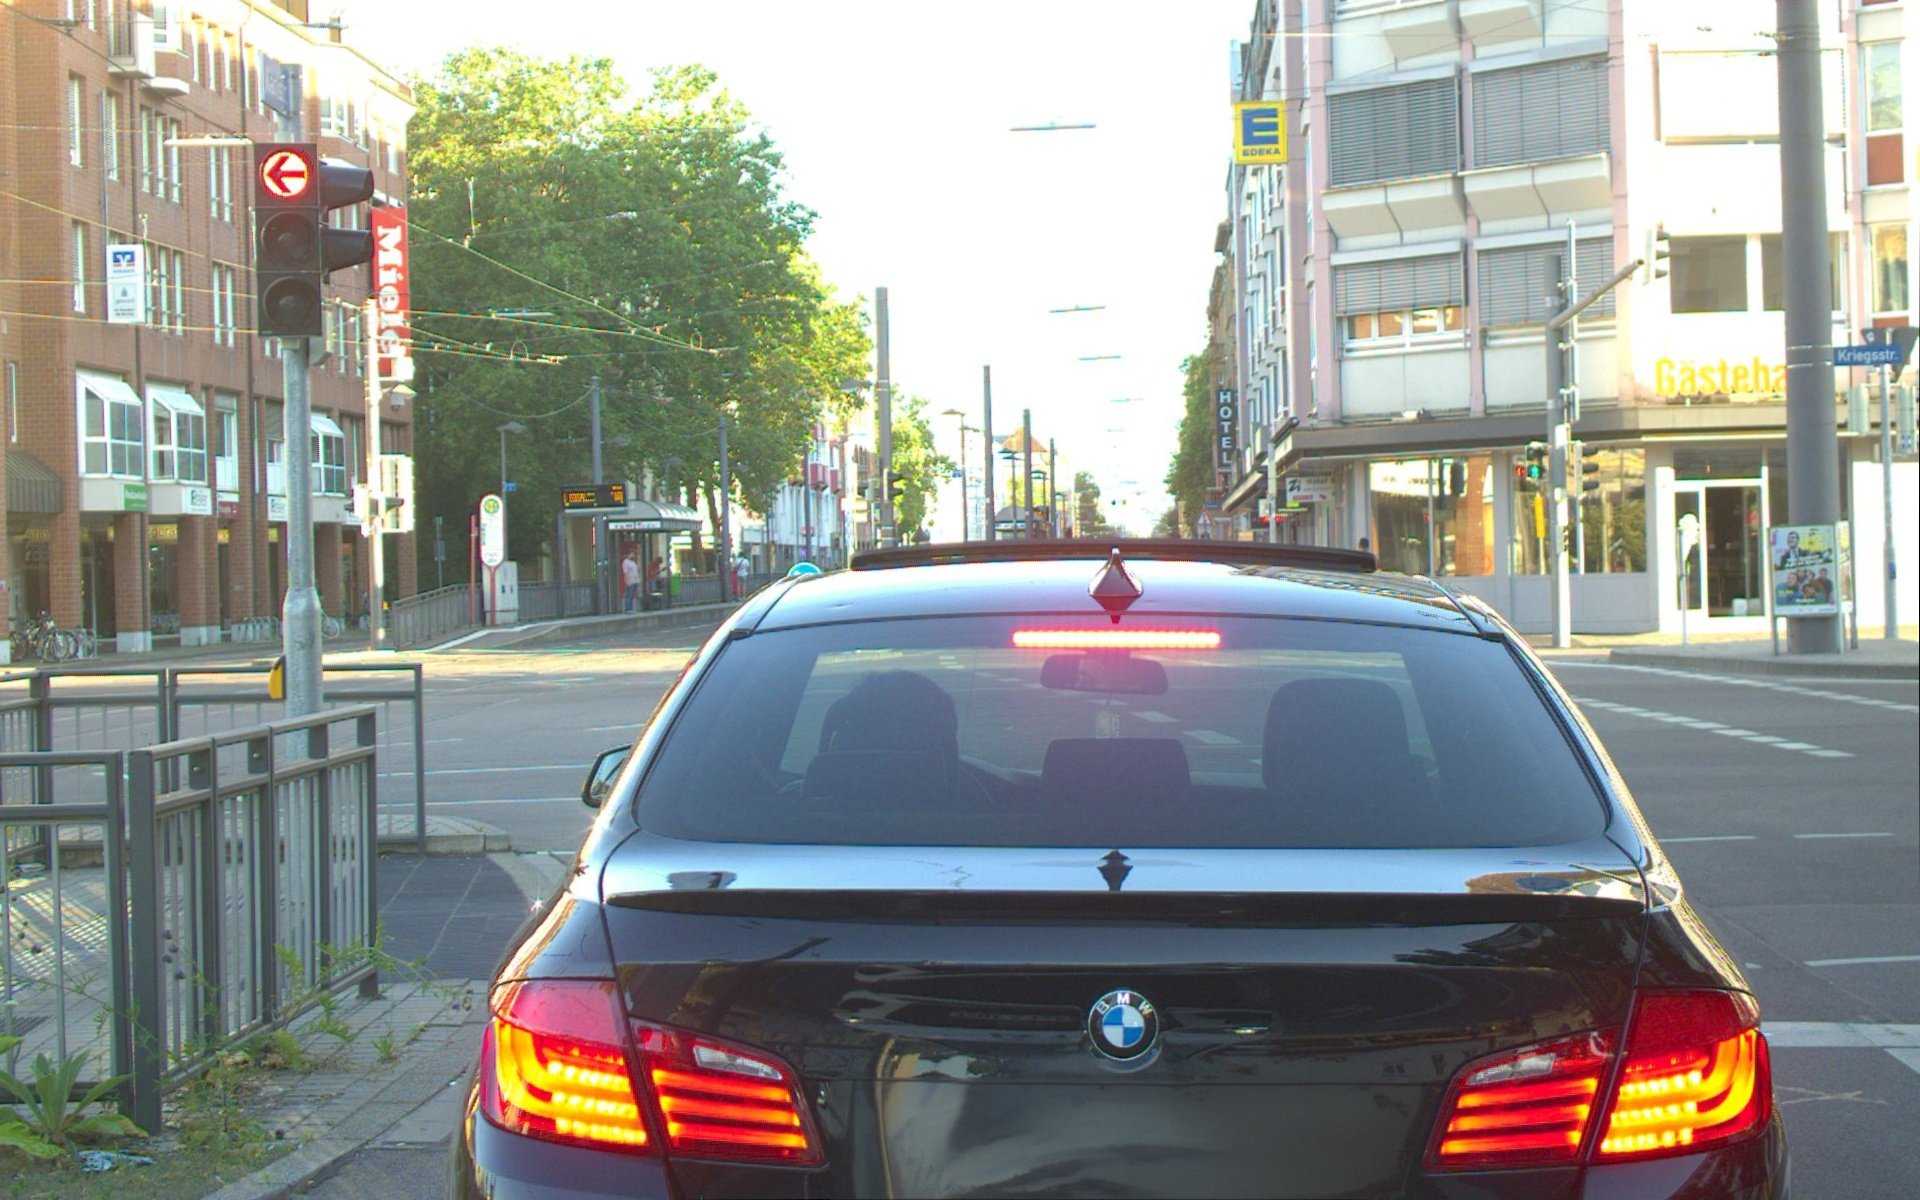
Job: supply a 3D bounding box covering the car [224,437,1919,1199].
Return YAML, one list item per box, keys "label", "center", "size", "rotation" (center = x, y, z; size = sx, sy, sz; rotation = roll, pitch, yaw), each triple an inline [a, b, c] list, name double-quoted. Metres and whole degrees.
- label: "car"
  center: [0.171, 0.586, 5.730]
  size: [1.993, 1.579, 4.000]
  rotation: [1, 1, -1]

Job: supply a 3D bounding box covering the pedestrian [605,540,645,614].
- label: "pedestrian"
  center: [-9.180, -0.627, 94.250]
  size: [0.988, 2.007, 0.726]
  rotation: [0, 1, 2]

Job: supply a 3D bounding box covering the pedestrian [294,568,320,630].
- label: "pedestrian"
  center: [-17.839, -0.021, 93.906]
  size: [0.486, 1.675, 0.655]
  rotation: [-1, 1, 7]

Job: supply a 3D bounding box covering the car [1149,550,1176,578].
- label: "car"
  center: [11.421, -2.033, 193.956]
  size: [1.473, 1.509, 3.096]
  rotation: [-1, 1, 2]

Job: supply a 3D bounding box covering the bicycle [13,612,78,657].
- label: "bicycle"
  center: [-19.301, 0.732, 72.583]
  size: [1.286, 0.919, 0.349]
  rotation: [0, 1, 0]

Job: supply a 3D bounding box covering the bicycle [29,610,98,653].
- label: "bicycle"
  center: [-19.426, 0.691, 74.493]
  size: [1.412, 0.919, 0.444]
  rotation: [0, 1, -12]

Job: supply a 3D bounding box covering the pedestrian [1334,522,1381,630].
- label: "pedestrian"
  center: [6.840, -0.415, 59.206]
  size: [0.684, 1.848, 0.671]
  rotation: [-1, 1, 0]

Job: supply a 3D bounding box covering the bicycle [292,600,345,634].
- label: "bicycle"
  center: [-17.737, 0.460, 95.075]
  size: [1.412, 0.919, 0.403]
  rotation: [0, 1, -10]

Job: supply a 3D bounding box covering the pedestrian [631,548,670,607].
- label: "pedestrian"
  center: [-8.939, -0.661, 99.349]
  size: [0.988, 1.675, 0.726]
  rotation: [-1, 1, 2]

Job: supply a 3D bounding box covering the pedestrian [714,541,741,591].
- label: "pedestrian"
  center: [-7.911, -1.155, 117.067]
  size: [0.723, 1.675, 0.991]
  rotation: [-1, 1, 6]

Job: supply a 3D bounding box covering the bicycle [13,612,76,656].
- label: "bicycle"
  center: [-19.506, 0.721, 73.231]
  size: [1.285, 0.919, 0.349]
  rotation: [0, 1, -12]

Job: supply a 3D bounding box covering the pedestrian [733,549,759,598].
- label: "pedestrian"
  center: [-7.404, -0.928, 119.022]
  size: [0.723, 1.675, 0.991]
  rotation: [-1, 1, 6]
